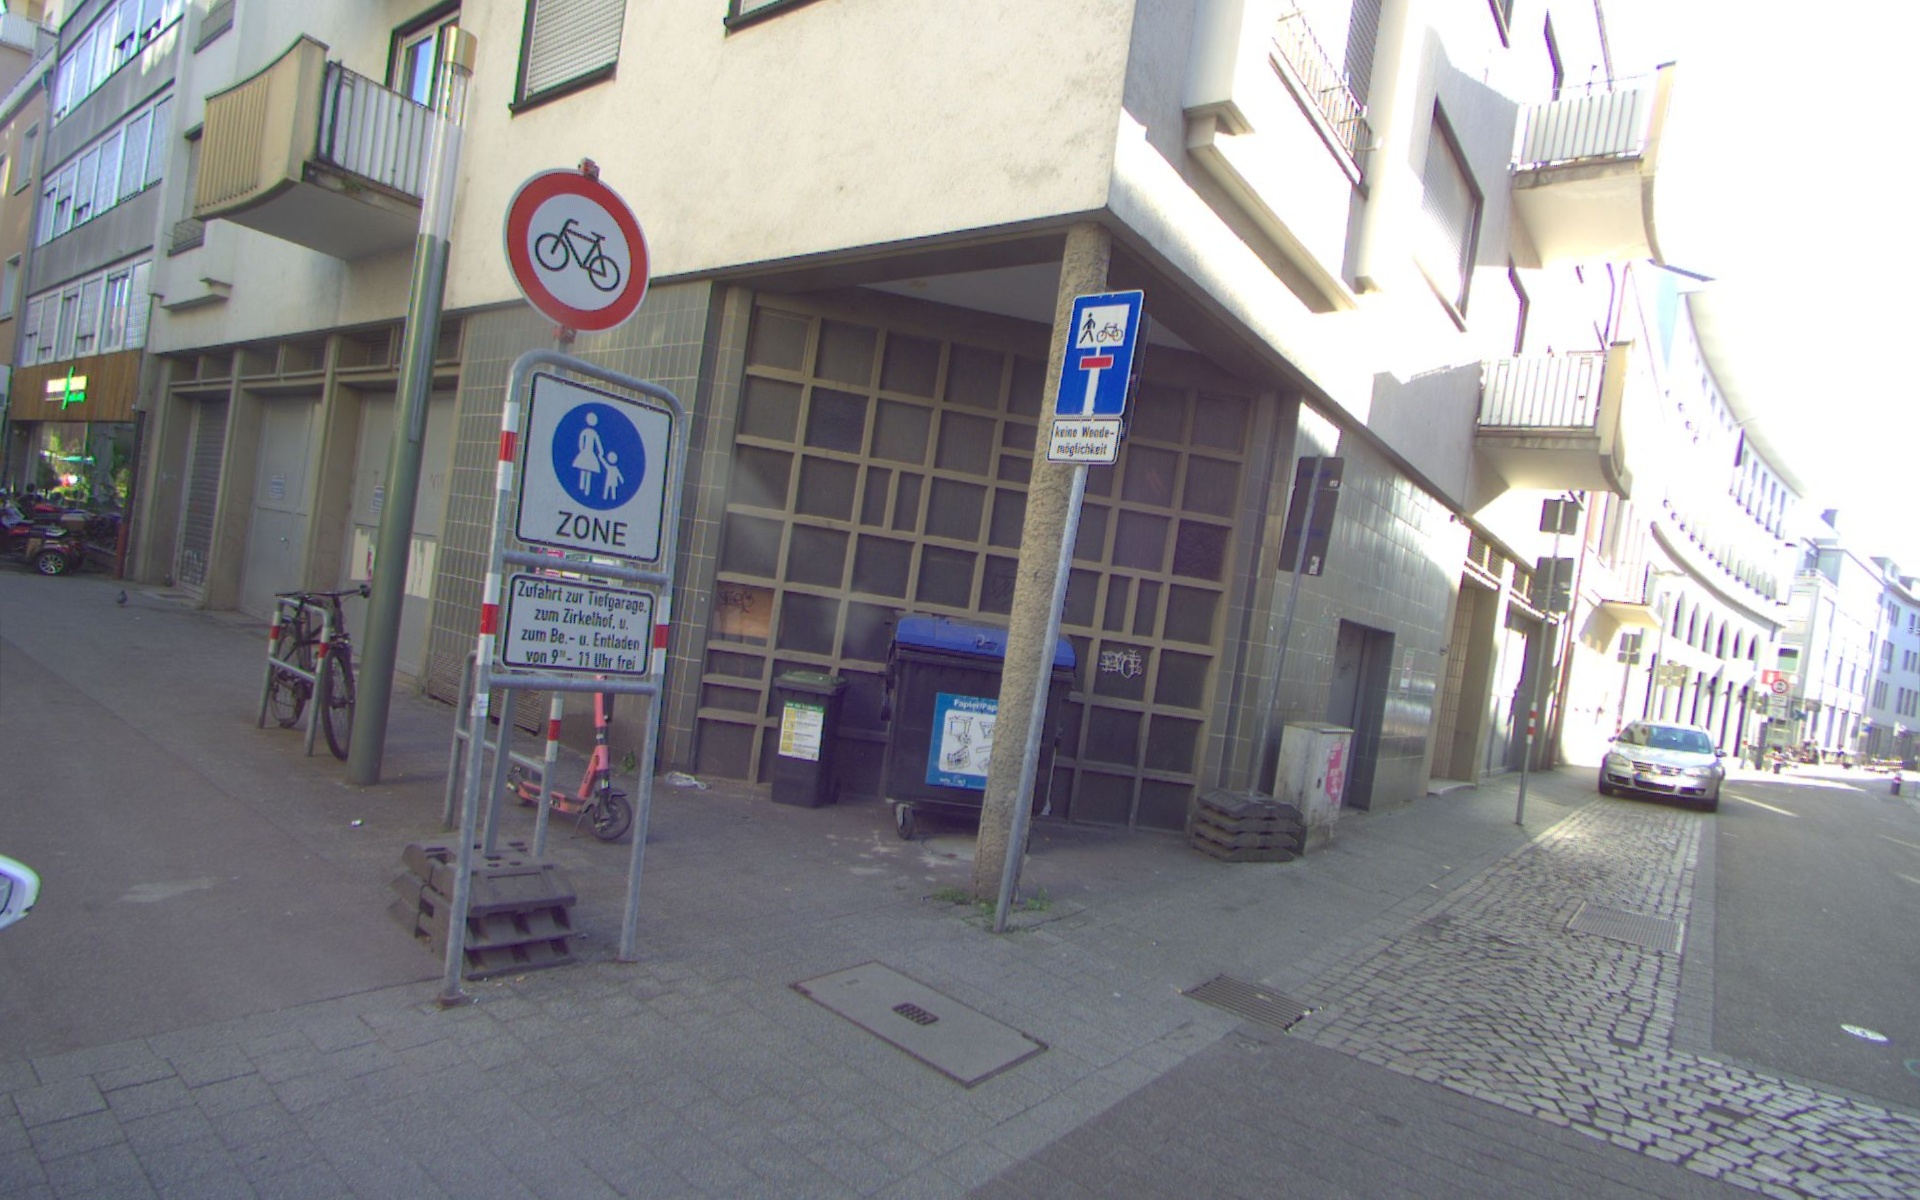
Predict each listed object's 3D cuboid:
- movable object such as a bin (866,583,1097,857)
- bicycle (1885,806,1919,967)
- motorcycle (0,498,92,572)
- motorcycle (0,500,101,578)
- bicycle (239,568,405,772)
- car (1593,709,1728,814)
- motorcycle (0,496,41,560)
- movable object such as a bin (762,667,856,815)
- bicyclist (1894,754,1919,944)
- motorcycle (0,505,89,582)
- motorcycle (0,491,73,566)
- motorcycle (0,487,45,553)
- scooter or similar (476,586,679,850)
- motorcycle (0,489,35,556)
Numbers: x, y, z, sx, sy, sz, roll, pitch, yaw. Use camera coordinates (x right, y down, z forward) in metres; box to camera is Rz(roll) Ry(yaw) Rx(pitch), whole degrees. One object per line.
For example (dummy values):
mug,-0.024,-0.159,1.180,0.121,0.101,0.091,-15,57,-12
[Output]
movable object such as a bin,0.093,0.780,7.061,1.269,1.609,1.153,8,1,-7
bicycle,6.923,2.041,6.758,0.564,1.063,1.834,6,-2,30
motorcycle,-15.897,-1.123,17.206,1.474,1.089,0.408,8,1,-34
motorcycle,-15.175,-1.009,16.520,1.507,1.089,0.408,8,1,-34
bicycle,-4.364,0.430,6.826,1.687,1.153,0.445,6,-1,44
car,13.089,2.915,18.710,1.745,1.487,3.800,6,-2,38
motorcycle,-17.678,-1.370,18.168,1.474,1.089,0.408,8,1,-34
movable object such as a bin,-1.084,0.996,7.224,0.532,0.935,0.512,7,1,-9
bicyclist,6.887,1.587,6.659,0.639,1.577,1.108,8,0,31
motorcycle,-14.781,-0.914,15.801,1.554,1.054,0.369,8,1,-34
motorcycle,-16.885,-1.318,17.821,1.614,1.189,0.476,8,1,-34
motorcycle,-18.866,-1.617,19.557,1.476,1.196,0.408,7,1,-37
scooter or similar,-2.199,0.625,5.725,1.219,1.268,0.307,8,0,35
motorcycle,-18.288,-1.522,18.706,1.476,1.196,0.408,7,1,-37
